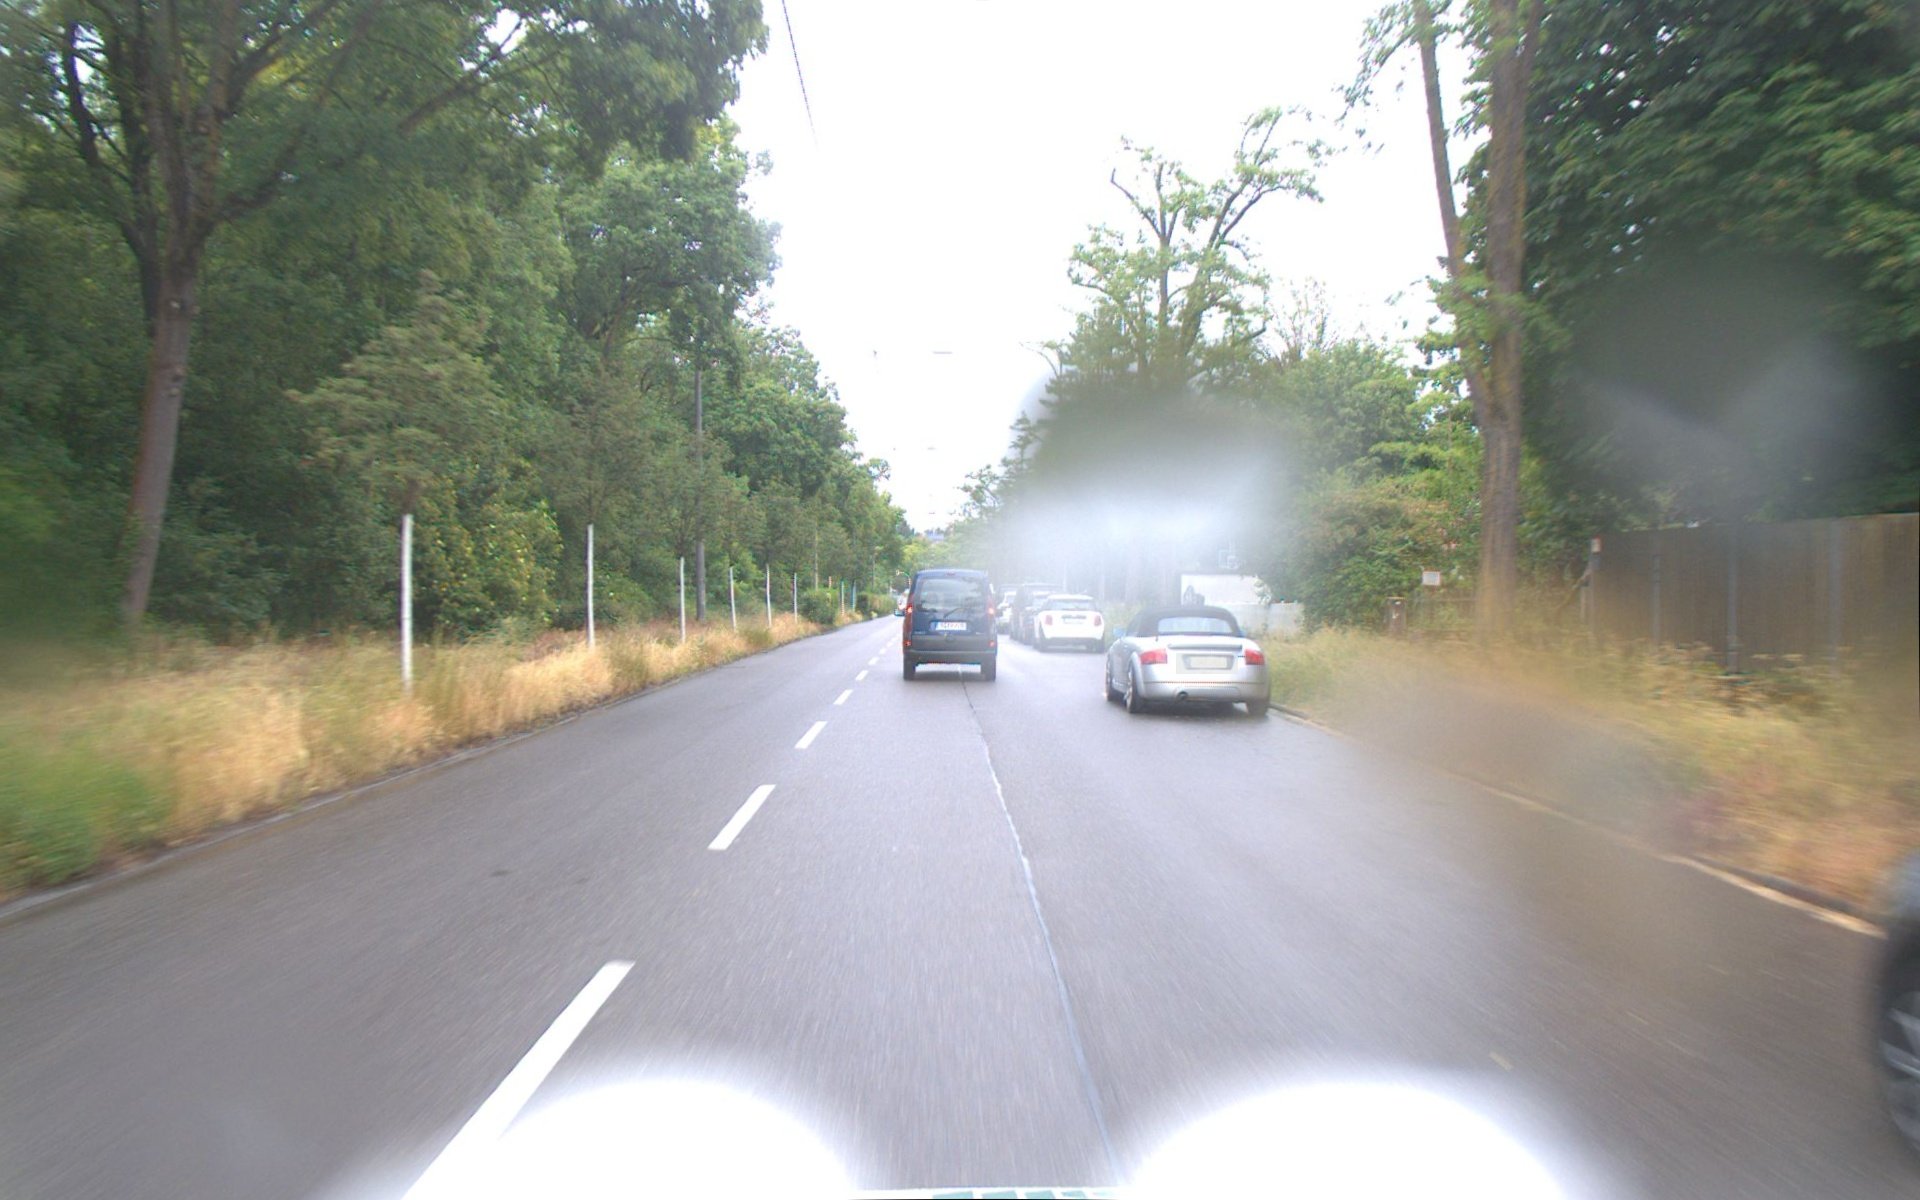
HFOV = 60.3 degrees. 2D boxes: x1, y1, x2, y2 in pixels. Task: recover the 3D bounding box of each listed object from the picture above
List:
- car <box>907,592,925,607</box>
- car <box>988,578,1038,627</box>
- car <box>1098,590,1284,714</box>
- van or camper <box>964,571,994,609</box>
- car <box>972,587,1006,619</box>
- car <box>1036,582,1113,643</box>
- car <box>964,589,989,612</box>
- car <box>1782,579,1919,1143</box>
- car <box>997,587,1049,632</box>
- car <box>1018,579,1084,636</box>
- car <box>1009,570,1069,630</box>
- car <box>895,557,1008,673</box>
[{"bbox_3d":[-4.659,-0.048,174.804,1.822,1.506,4.156,-1,0,0],"label":"car"},{"bbox_3d":[2.285,0.080,71.884,1.953,2.049,4.888,1,1,0],"label":"car"},{"bbox_3d":[2.945,0.614,21.852,1.746,1.419,3.999,1,1,-2],"label":"car"},{"bbox_3d":[1.410,-0.766,122.642,2.036,2.697,5.345,1,1,-1],"label":"van or camper"},{"bbox_3d":[1.760,0.149,101.712,1.778,1.845,4.281,1,1,-3],"label":"car"},{"bbox_3d":[2.963,0.300,43.484,1.702,1.490,3.724,1,1,-1],"label":"car"},{"bbox_3d":[1.174,0.025,114.663,1.592,1.489,3.809,1,1,2],"label":"car"},{"bbox_3d":[3.375,0.722,3.103,1.607,1.489,3.999,1,1,-1],"label":"car"},{"bbox_3d":[2.449,0.348,65.190,1.768,1.641,4.285,1,1,-1],"label":"car"},{"bbox_3d":[2.646,0.180,48.846,1.644,1.583,4.075,1,1,-1],"label":"car"},{"bbox_3d":[2.588,-0.013,54.763,1.695,1.879,4.229,1,1,-1],"label":"car"},{"bbox_3d":[-0.211,0.218,28.746,1.732,1.862,3.539,1,1,-4],"label":"car"}]
